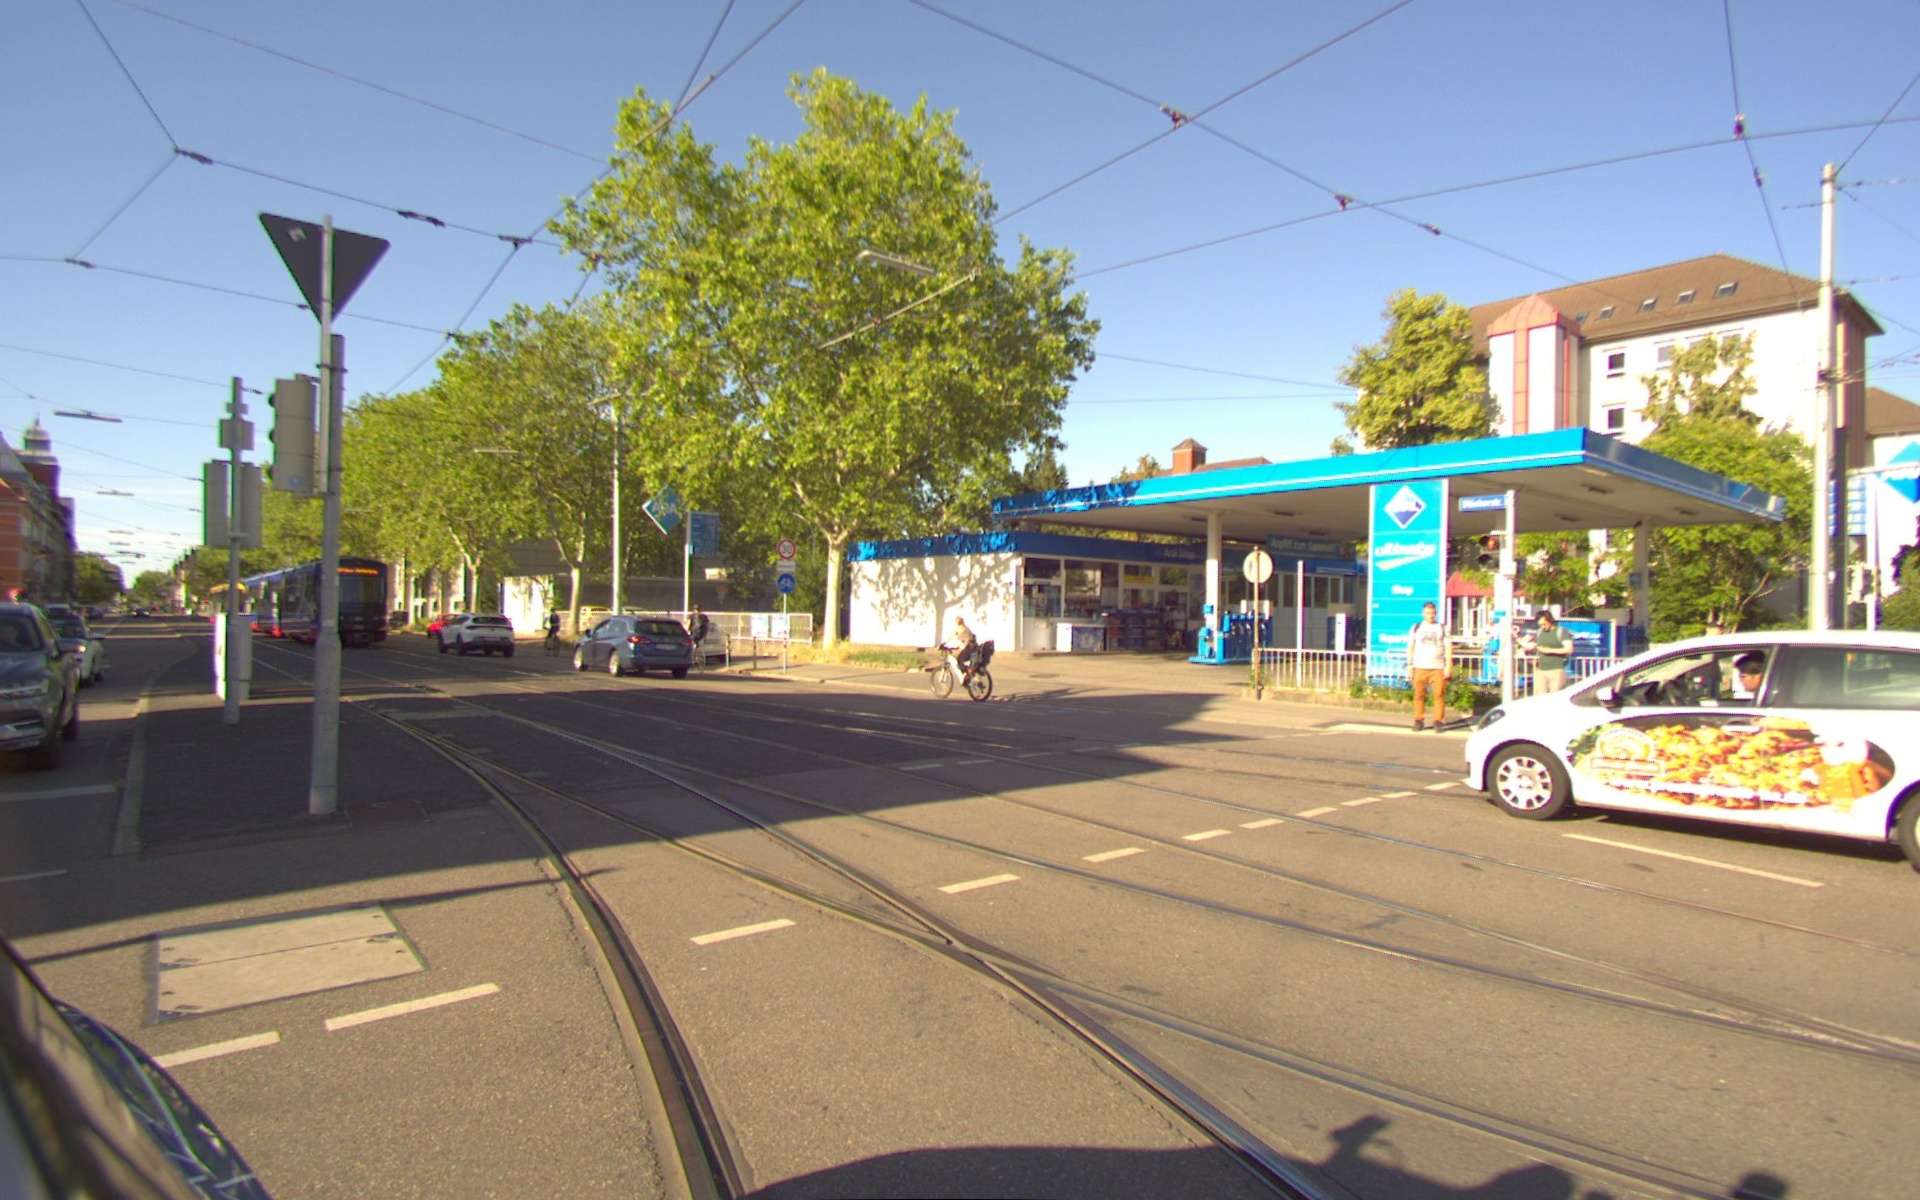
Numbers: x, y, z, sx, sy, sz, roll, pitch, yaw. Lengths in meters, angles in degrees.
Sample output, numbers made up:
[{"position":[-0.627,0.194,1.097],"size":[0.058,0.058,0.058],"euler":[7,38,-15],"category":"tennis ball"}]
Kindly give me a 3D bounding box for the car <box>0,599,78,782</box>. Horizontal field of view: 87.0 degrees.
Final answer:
[{"position":[-10.465,0.815,10.430],"size":[1.888,1.643,4.511],"euler":[2,-1,-39],"category":"car"}]

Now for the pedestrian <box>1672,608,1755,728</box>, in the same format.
[{"position":[11.332,1.001,15.231],"size":[0.735,1.742,0.736],"euler":[1,-1,-24],"category":"pedestrian"}]

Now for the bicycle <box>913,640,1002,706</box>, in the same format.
[{"position":[-0.067,1.394,19.752],"size":[1.959,1.175,0.479],"euler":[0,-2,45],"category":"bicycle"}]

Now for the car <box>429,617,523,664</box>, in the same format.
[{"position":[-17.409,1.423,36.294],"size":[1.968,1.508,4.355],"euler":[5,-4,-39],"category":"car"}]

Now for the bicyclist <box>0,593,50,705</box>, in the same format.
[{"position":[-14.937,0.766,16.118],"size":[0.591,1.732,0.664],"euler":[2,-2,-40],"category":"bicyclist"}]

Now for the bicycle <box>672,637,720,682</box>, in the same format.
[{"position":[-7.419,1.642,28.415],"size":[0.479,1.175,2.060],"euler":[1,-1,-39],"category":"bicycle"}]

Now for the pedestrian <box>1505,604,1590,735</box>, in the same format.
[{"position":[8.353,0.967,14.409],"size":[0.730,1.815,0.743],"euler":[1,-1,-15],"category":"pedestrian"}]

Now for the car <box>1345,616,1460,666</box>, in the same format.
[{"position":[14.154,1.278,32.263],"size":[4.152,1.497,1.720],"euler":[1,-1,-40],"category":"car"}]

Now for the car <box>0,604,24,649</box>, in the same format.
[{"position":[-41.801,1.116,43.478],"size":[1.903,1.859,5.323],"euler":[2,-1,-38],"category":"car"}]

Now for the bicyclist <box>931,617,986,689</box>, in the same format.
[{"position":[-0.029,1.021,19.734],"size":[0.898,1.350,0.596],"euler":[-1,-2,44],"category":"bicyclist"}]

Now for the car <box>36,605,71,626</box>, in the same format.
[{"position":[-68.533,1.168,76.538],"size":[1.854,1.497,4.006],"euler":[2,-1,-41],"category":"car"}]

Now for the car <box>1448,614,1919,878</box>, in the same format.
[{"position":[5.590,0.865,7.042],"size":[1.696,1.508,3.589],"euler":[2,-1,-40],"category":"car"}]

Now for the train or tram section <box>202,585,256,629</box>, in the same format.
[{"position":[-64.715,0.639,89.454],"size":[3.016,3.640,12.912],"euler":[2,-1,-39],"category":"train or tram section"}]

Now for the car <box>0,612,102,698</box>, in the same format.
[{"position":[-19.437,1.085,21.372],"size":[1.888,1.643,4.510],"euler":[2,-1,-39],"category":"car"}]

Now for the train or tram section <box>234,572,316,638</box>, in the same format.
[{"position":[-41.579,0.351,61.186],"size":[3.016,3.640,12.137],"euler":[2,-1,-39],"category":"train or tram section"}]

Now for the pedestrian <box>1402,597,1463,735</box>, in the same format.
[{"position":[6.868,0.939,14.711],"size":[0.621,1.940,0.585],"euler":[1,-2,-39],"category":"pedestrian"}]

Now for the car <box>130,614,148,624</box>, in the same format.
[{"position":[-118.091,2.713,145.593],"size":[1.854,1.497,4.006],"euler":[2,-1,-41],"category":"car"}]

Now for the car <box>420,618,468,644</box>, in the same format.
[{"position":[-31.467,1.892,61.672],"size":[1.853,1.497,4.008],"euler":[1,-1,-38],"category":"car"}]

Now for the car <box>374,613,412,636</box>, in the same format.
[{"position":[-41.393,1.791,73.812],"size":[1.853,1.588,4.008],"euler":[1,-1,-38],"category":"car"}]

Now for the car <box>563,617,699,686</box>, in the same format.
[{"position":[-8.198,1.202,24.956],"size":[1.750,1.508,4.583],"euler":[1,-1,-37],"category":"car"}]

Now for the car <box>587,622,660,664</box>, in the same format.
[{"position":[-13.004,1.618,39.023],"size":[1.751,1.435,3.319],"euler":[-2,1,-35],"category":"car"}]

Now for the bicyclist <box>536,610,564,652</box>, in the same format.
[{"position":[-15.577,1.153,38.423],"size":[0.705,1.571,0.988],"euler":[1,-1,-39],"category":"bicyclist"}]

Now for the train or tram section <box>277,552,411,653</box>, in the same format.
[{"position":[-25.901,0.161,42.148],"size":[3.016,3.640,12.136],"euler":[2,-1,-39],"category":"train or tram section"}]

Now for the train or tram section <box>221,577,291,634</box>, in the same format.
[{"position":[-49.212,0.450,70.604],"size":[3.016,3.640,12.136],"euler":[2,-1,-39],"category":"train or tram section"}]

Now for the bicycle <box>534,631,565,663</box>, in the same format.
[{"position":[-15.617,1.766,38.450],"size":[0.479,1.175,2.060],"euler":[1,-1,-39],"category":"bicycle"}]

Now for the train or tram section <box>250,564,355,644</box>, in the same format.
[{"position":[-33.754,0.253,51.650],"size":[3.016,3.640,12.524],"euler":[2,-1,-40],"category":"train or tram section"}]

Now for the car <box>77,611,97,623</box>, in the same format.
[{"position":[-107.413,2.090,124.532],"size":[1.854,1.497,4.006],"euler":[2,-1,-41],"category":"car"}]

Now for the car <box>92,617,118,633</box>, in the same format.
[{"position":[-82.285,2.388,97.424],"size":[1.854,1.497,4.006],"euler":[2,-1,-41],"category":"car"}]

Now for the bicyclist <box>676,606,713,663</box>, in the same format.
[{"position":[-7.495,0.961,28.526],"size":[0.687,1.583,0.893],"euler":[1,-1,-39],"category":"bicyclist"}]

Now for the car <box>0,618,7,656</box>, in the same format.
[{"position":[-38.119,1.422,38.702],"size":[1.852,1.497,4.010],"euler":[1,-1,-35],"category":"car"}]

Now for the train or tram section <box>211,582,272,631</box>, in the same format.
[{"position":[-56.844,0.557,79.882],"size":[3.016,3.640,11.970],"euler":[2,-1,-39],"category":"train or tram section"}]

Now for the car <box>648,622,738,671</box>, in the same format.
[{"position":[-9.017,1.525,33.982],"size":[1.751,1.435,3.547],"euler":[-2,1,-35],"category":"car"}]
